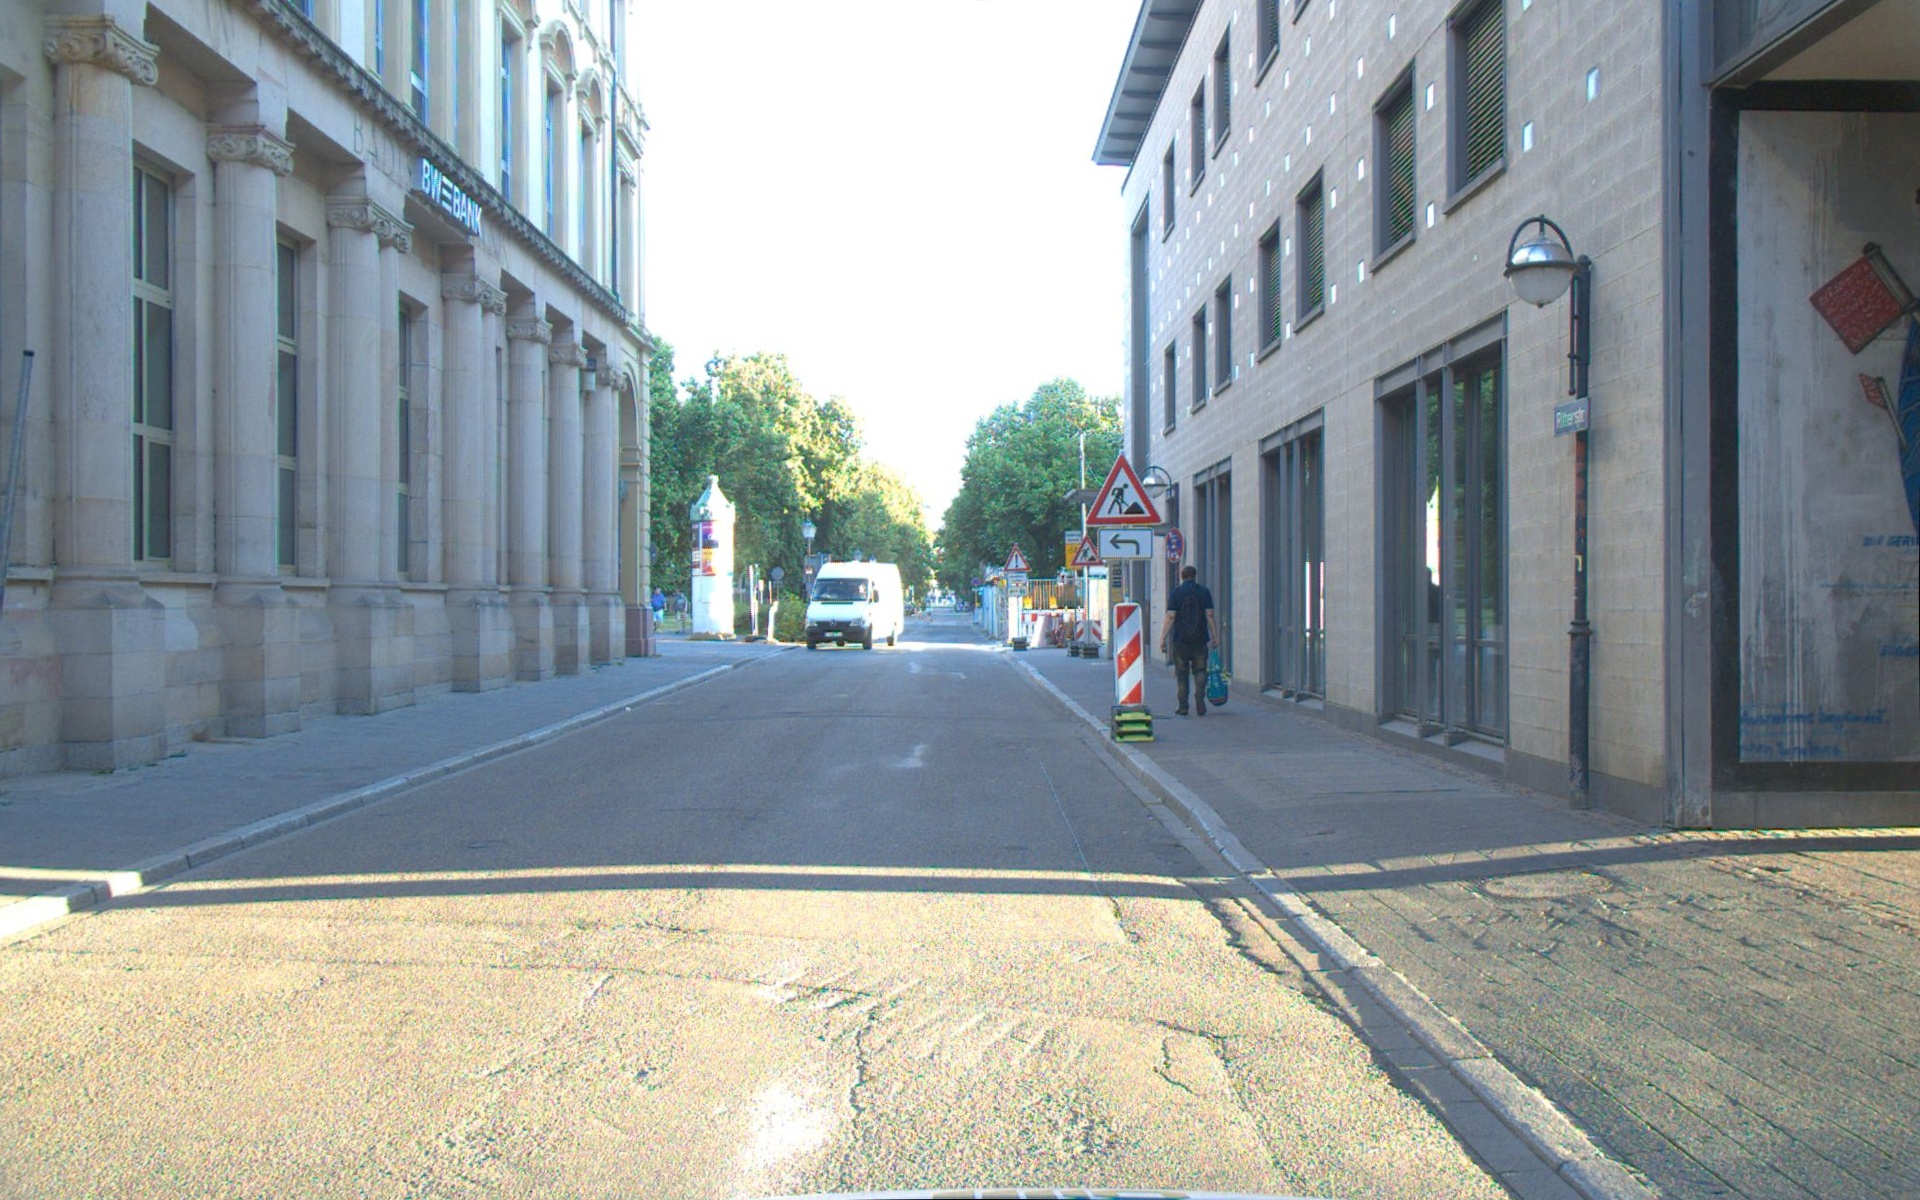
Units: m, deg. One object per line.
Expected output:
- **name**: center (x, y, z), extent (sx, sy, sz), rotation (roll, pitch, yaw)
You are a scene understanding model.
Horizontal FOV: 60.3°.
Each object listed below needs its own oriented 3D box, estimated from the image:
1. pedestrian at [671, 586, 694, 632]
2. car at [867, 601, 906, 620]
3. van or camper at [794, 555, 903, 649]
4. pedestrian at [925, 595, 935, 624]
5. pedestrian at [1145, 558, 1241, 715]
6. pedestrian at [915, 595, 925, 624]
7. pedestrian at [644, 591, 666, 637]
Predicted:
- **pedestrian**: center (-11.258, 0.362, 67.103), extent (0.835, 1.839, 0.661), rotation (0, 0, -14)
- **car**: center (-7.114, 1.025, 161.005), extent (3.486, 1.814, 1.791), rotation (-1, -1, 9)
- **van or camper**: center (-3.243, 0.035, 49.588), extent (2.172, 2.630, 6.376), rotation (0, 0, 6)
- **pedestrian**: center (-2.113, 0.656, 115.628), extent (0.570, 2.049, 0.680), rotation (0, 0, -9)
- **pedestrian**: center (2.828, 0.439, 20.139), extent (0.980, 1.835, 0.881), rotation (-1, -1, -2)
- **pedestrian**: center (-2.835, 0.675, 116.060), extent (0.598, 2.049, 0.903), rotation (0, 0, -9)
- **pedestrian**: center (-12.302, 0.551, 66.761), extent (0.835, 1.839, 0.661), rotation (0, 0, -14)
